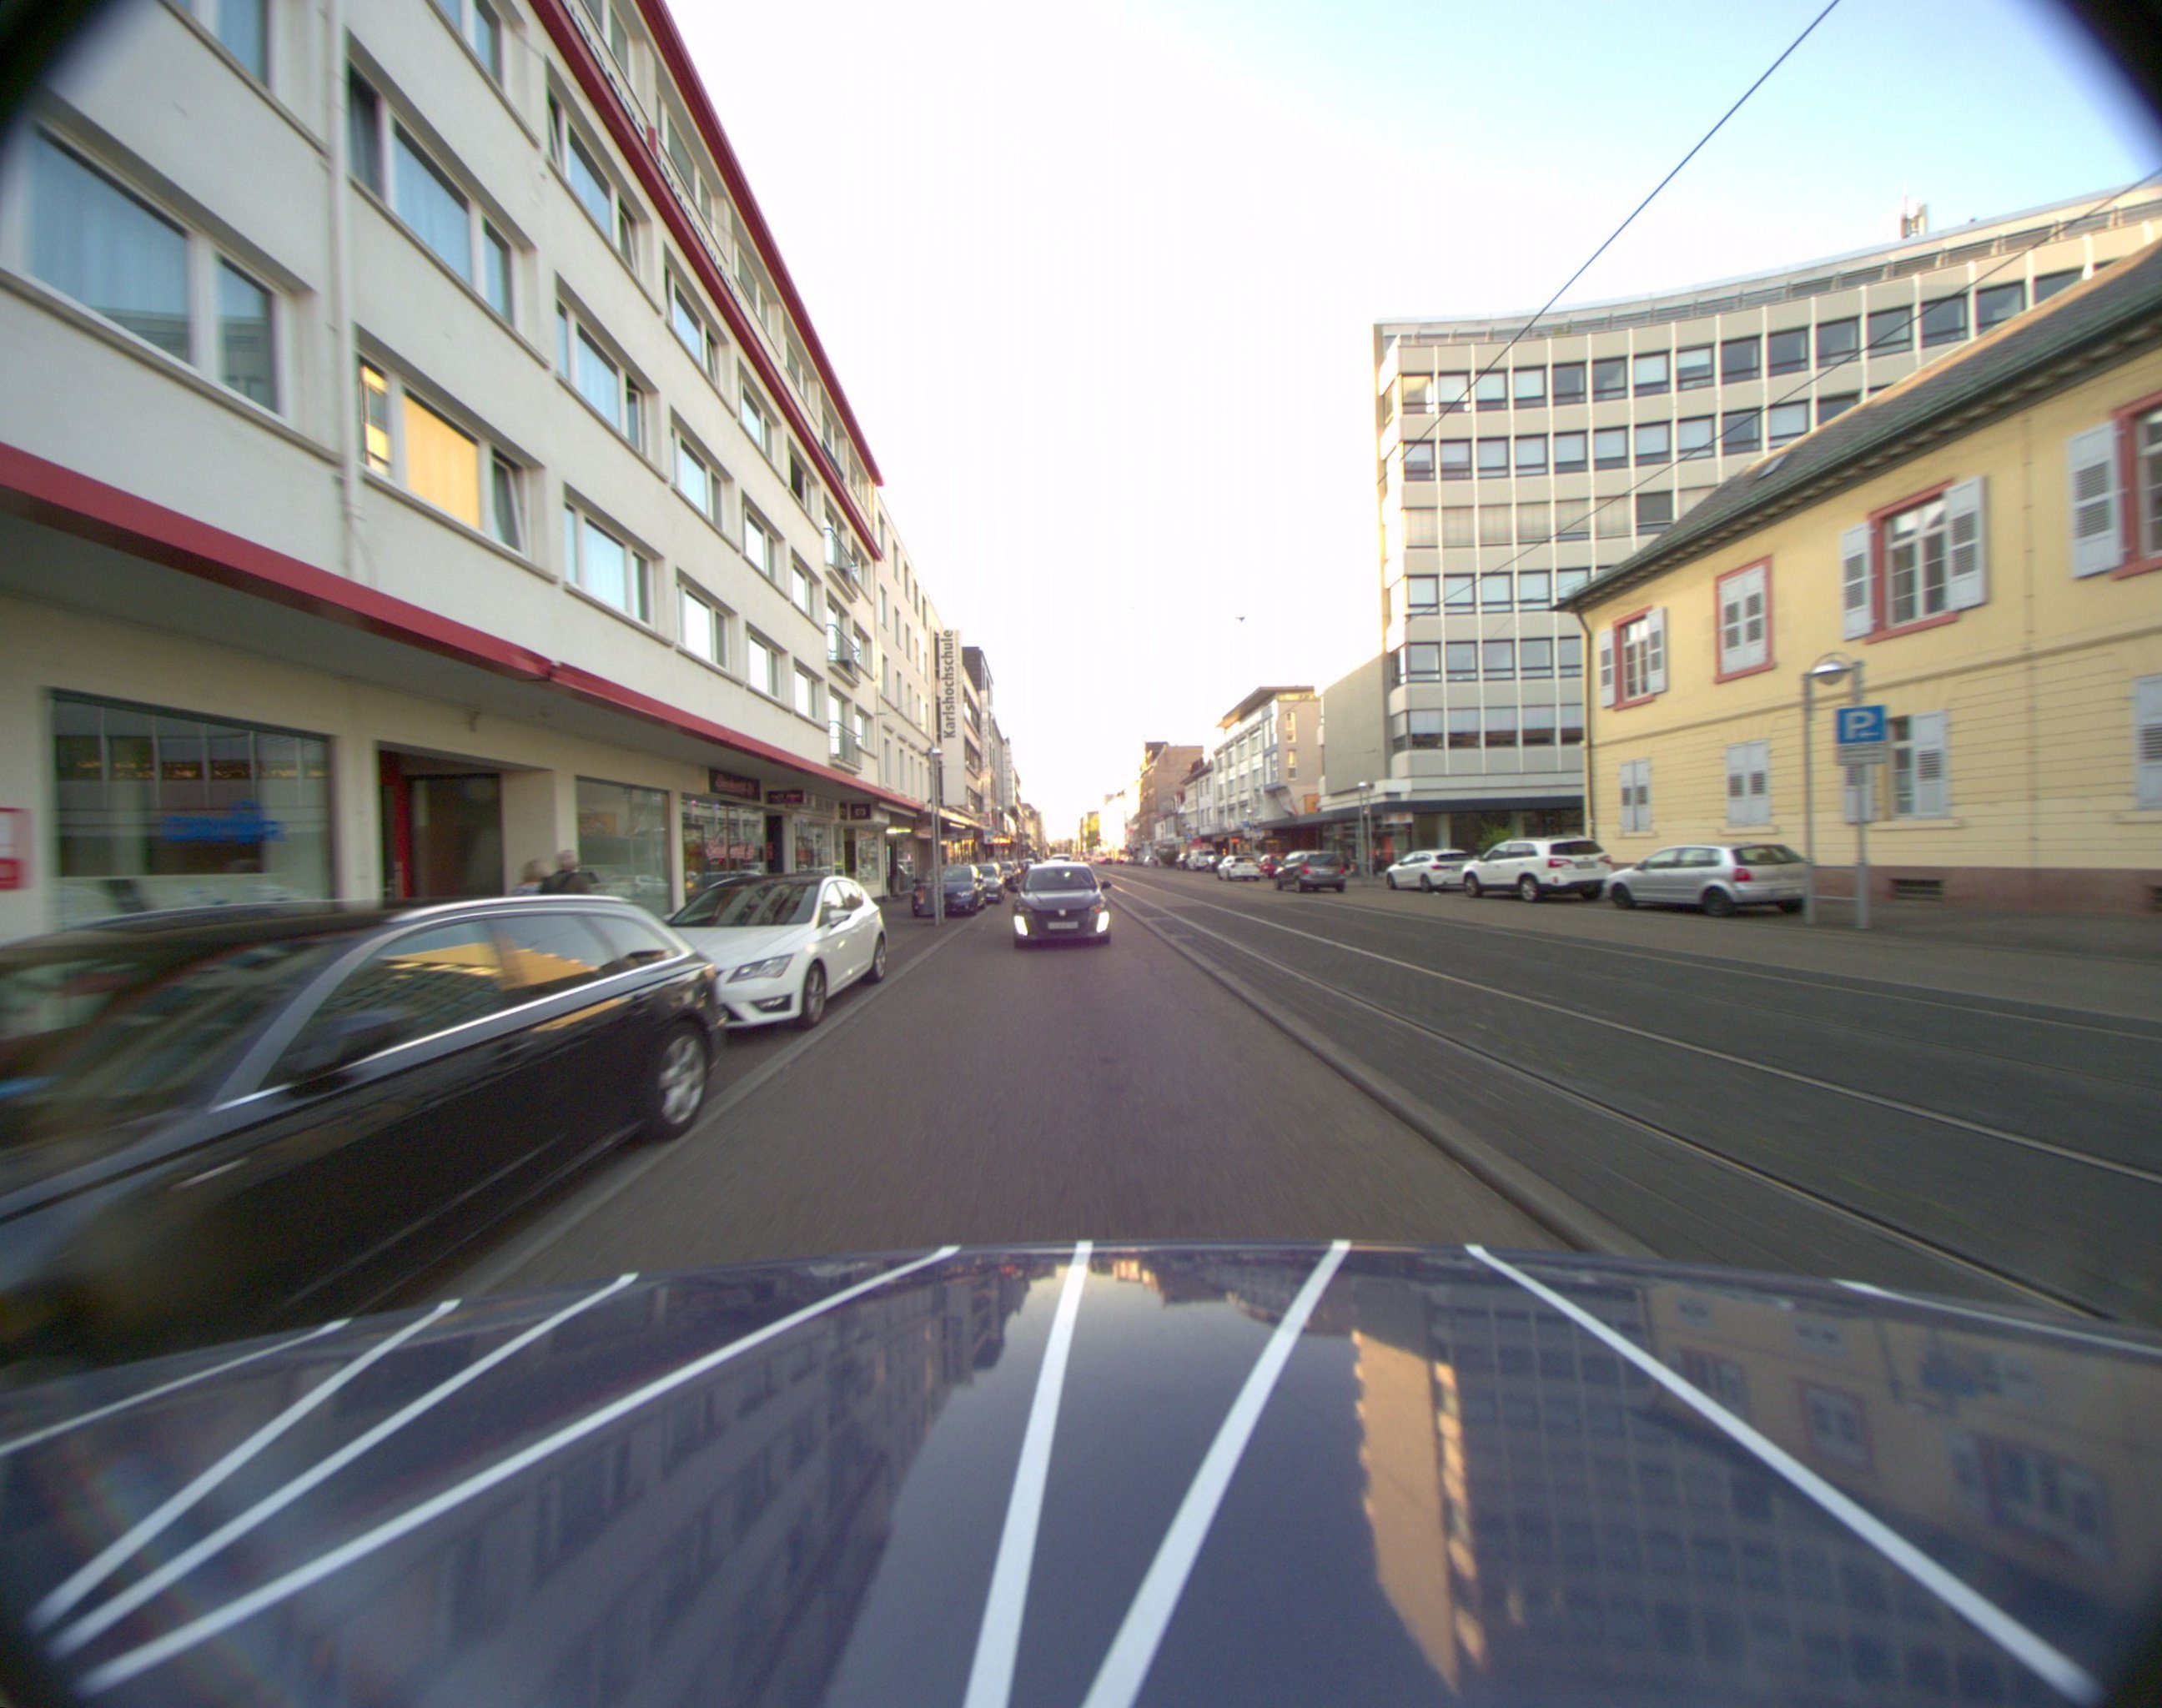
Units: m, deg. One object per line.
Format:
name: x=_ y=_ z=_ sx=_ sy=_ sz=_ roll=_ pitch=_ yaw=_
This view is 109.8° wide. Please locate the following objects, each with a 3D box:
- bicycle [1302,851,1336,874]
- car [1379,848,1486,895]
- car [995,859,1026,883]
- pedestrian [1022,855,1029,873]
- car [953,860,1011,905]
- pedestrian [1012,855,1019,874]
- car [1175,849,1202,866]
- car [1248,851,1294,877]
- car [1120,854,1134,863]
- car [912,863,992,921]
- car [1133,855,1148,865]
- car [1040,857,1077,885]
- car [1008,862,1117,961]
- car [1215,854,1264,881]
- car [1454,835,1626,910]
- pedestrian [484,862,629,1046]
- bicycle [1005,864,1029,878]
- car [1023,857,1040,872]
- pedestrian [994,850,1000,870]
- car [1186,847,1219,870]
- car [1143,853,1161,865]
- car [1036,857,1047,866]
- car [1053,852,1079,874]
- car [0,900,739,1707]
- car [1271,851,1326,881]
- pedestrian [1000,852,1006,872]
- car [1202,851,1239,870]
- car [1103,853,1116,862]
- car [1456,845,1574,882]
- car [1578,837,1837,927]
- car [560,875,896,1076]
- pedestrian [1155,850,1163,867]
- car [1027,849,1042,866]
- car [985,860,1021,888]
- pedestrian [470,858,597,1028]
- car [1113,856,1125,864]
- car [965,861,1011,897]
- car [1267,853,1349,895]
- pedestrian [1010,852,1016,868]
bicycle: x=15.762 y=0.560 z=50.351 sx=1.974 sy=1.417 sz=0.834 roll=-1 pitch=0 yaw=-3
car: x=12.545 y=0.595 z=27.449 sx=1.817 sy=1.503 sz=4.432 roll=-1 pitch=0 yaw=0
car: x=-4.700 y=1.122 z=51.002 sx=1.749 sy=1.503 sz=4.257 roll=0 pitch=0 yaw=-1
pedestrian: x=-5.352 y=0.993 z=73.005 sx=0.606 sy=1.717 sz=0.646 roll=-1 pitch=0 yaw=-2
car: x=-3.662 y=1.009 z=28.809 sx=1.795 sy=1.503 sz=4.710 roll=0 pitch=0 yaw=-3
pedestrian: x=-6.260 y=1.012 z=72.824 sx=0.610 sy=1.743 sz=0.605 roll=-1 pitch=0 yaw=-2
car: x=10.982 y=0.367 z=77.886 sx=1.863 sy=1.711 sz=4.526 roll=-2 pitch=0 yaw=-3
car: x=11.725 y=0.619 z=47.034 sx=1.690 sy=1.503 sz=4.214 roll=-1 pitch=0 yaw=-1
car: x=8.272 y=0.812 z=137.016 sx=1.999 sy=1.543 sz=4.205 roll=-2 pitch=0 yaw=-2
car: x=-3.731 y=1.050 z=22.663 sx=1.740 sy=1.503 sz=4.303 roll=0 pitch=0 yaw=-1
car: x=9.825 y=1.010 z=125.273 sx=1.999 sy=1.543 sz=3.999 roll=-2 pitch=0 yaw=-2
car: x=-1.314 y=0.958 z=43.390 sx=1.999 sy=1.450 sz=3.999 roll=-2 pitch=0 yaw=-2
car: x=-0.409 y=0.975 z=14.767 sx=1.732 sy=1.513 sz=4.332 roll=-3 pitch=0 yaw=-3
car: x=8.987 y=0.734 z=43.478 sx=1.811 sy=1.503 sz=4.034 roll=-1 pitch=0 yaw=-2
car: x=12.604 y=0.463 z=21.269 sx=1.817 sy=1.775 sz=4.496 roll=-3 pitch=0 yaw=-3
pedestrian: x=-5.136 y=0.936 z=7.498 sx=0.829 sy=1.708 sz=0.843 roll=0 pitch=0 yaw=-1
bicycle: x=-5.062 y=1.374 z=60.461 sx=1.891 sy=1.070 sz=0.676 roll=1 pitch=0 yaw=-4
car: x=-5.497 y=1.139 z=84.063 sx=1.682 sy=1.533 sz=3.885 roll=0 pitch=0 yaw=-1
pedestrian: x=-8.148 y=0.579 z=73.908 sx=0.452 sy=1.888 sz=0.421 roll=-1 pitch=0 yaw=-2
car: x=11.219 y=0.404 z=70.235 sx=1.960 sy=1.965 sz=5.161 roll=-1 pitch=0 yaw=-3
car: x=9.745 y=0.645 z=104.602 sx=1.999 sy=1.535 sz=4.878 roll=-2 pitch=0 yaw=-1
car: x=-7.271 y=1.424 z=141.336 sx=1.999 sy=1.627 sz=5.243 roll=-1 pitch=0 yaw=-3
car: x=-1.301 y=0.737 z=63.965 sx=1.999 sy=1.805 sz=3.999 roll=-2 pitch=0 yaw=-3
car: x=-3.062 y=1.049 z=2.605 sx=1.740 sy=1.503 sz=4.685 roll=0 pitch=0 yaw=-1
car: x=11.868 y=0.613 z=41.788 sx=1.690 sy=1.503 sz=4.214 roll=-2 pitch=0 yaw=-1
pedestrian: x=-7.472 y=0.754 z=72.883 sx=0.456 sy=1.888 sz=0.421 roll=-1 pitch=0 yaw=-2
car: x=11.450 y=0.522 z=62.765 sx=1.999 sy=1.457 sz=4.557 roll=-3 pitch=0 yaw=-3
car: x=5.373 y=0.617 z=143.708 sx=1.999 sy=1.543 sz=3.999 roll=-4 pitch=0 yaw=-2
car: x=18.699 y=0.398 z=32.865 sx=3.997 sy=1.458 sz=1.846 roll=-1 pitch=0 yaw=0
car: x=12.973 y=0.516 z=16.145 sx=1.817 sy=1.608 sz=4.213 roll=-2 pitch=0 yaw=-4
car: x=-3.336 y=1.038 z=8.162 sx=1.790 sy=1.503 sz=4.051 roll=0 pitch=0 yaw=-1
pedestrian: x=9.692 y=0.562 z=94.675 sx=0.823 sy=2.002 sz=0.713 roll=-1 pitch=0 yaw=14
car: x=-6.769 y=0.571 z=111.872 sx=2.046 sy=2.371 sz=5.583 roll=-1 pitch=0 yaw=-3
car: x=-4.456 y=1.132 z=44.033 sx=1.725 sy=1.503 sz=4.166 roll=0 pitch=0 yaw=-1
pedestrian: x=-5.881 y=0.915 z=8.212 sx=0.730 sy=1.731 sz=0.863 roll=0 pitch=0 yaw=-1
car: x=7.896 y=1.202 z=158.525 sx=1.999 sy=1.543 sz=3.999 roll=-2 pitch=0 yaw=-2
car: x=-4.187 y=1.081 z=34.631 sx=1.690 sy=1.503 sz=4.034 roll=0 pitch=0 yaw=-1
car: x=8.823 y=0.732 z=29.890 sx=1.740 sy=1.503 sz=4.033 roll=-2 pitch=0 yaw=-4
pedestrian: x=-8.664 y=0.815 z=97.185 sx=0.712 sy=2.002 sz=0.824 roll=-1 pitch=0 yaw=-2
